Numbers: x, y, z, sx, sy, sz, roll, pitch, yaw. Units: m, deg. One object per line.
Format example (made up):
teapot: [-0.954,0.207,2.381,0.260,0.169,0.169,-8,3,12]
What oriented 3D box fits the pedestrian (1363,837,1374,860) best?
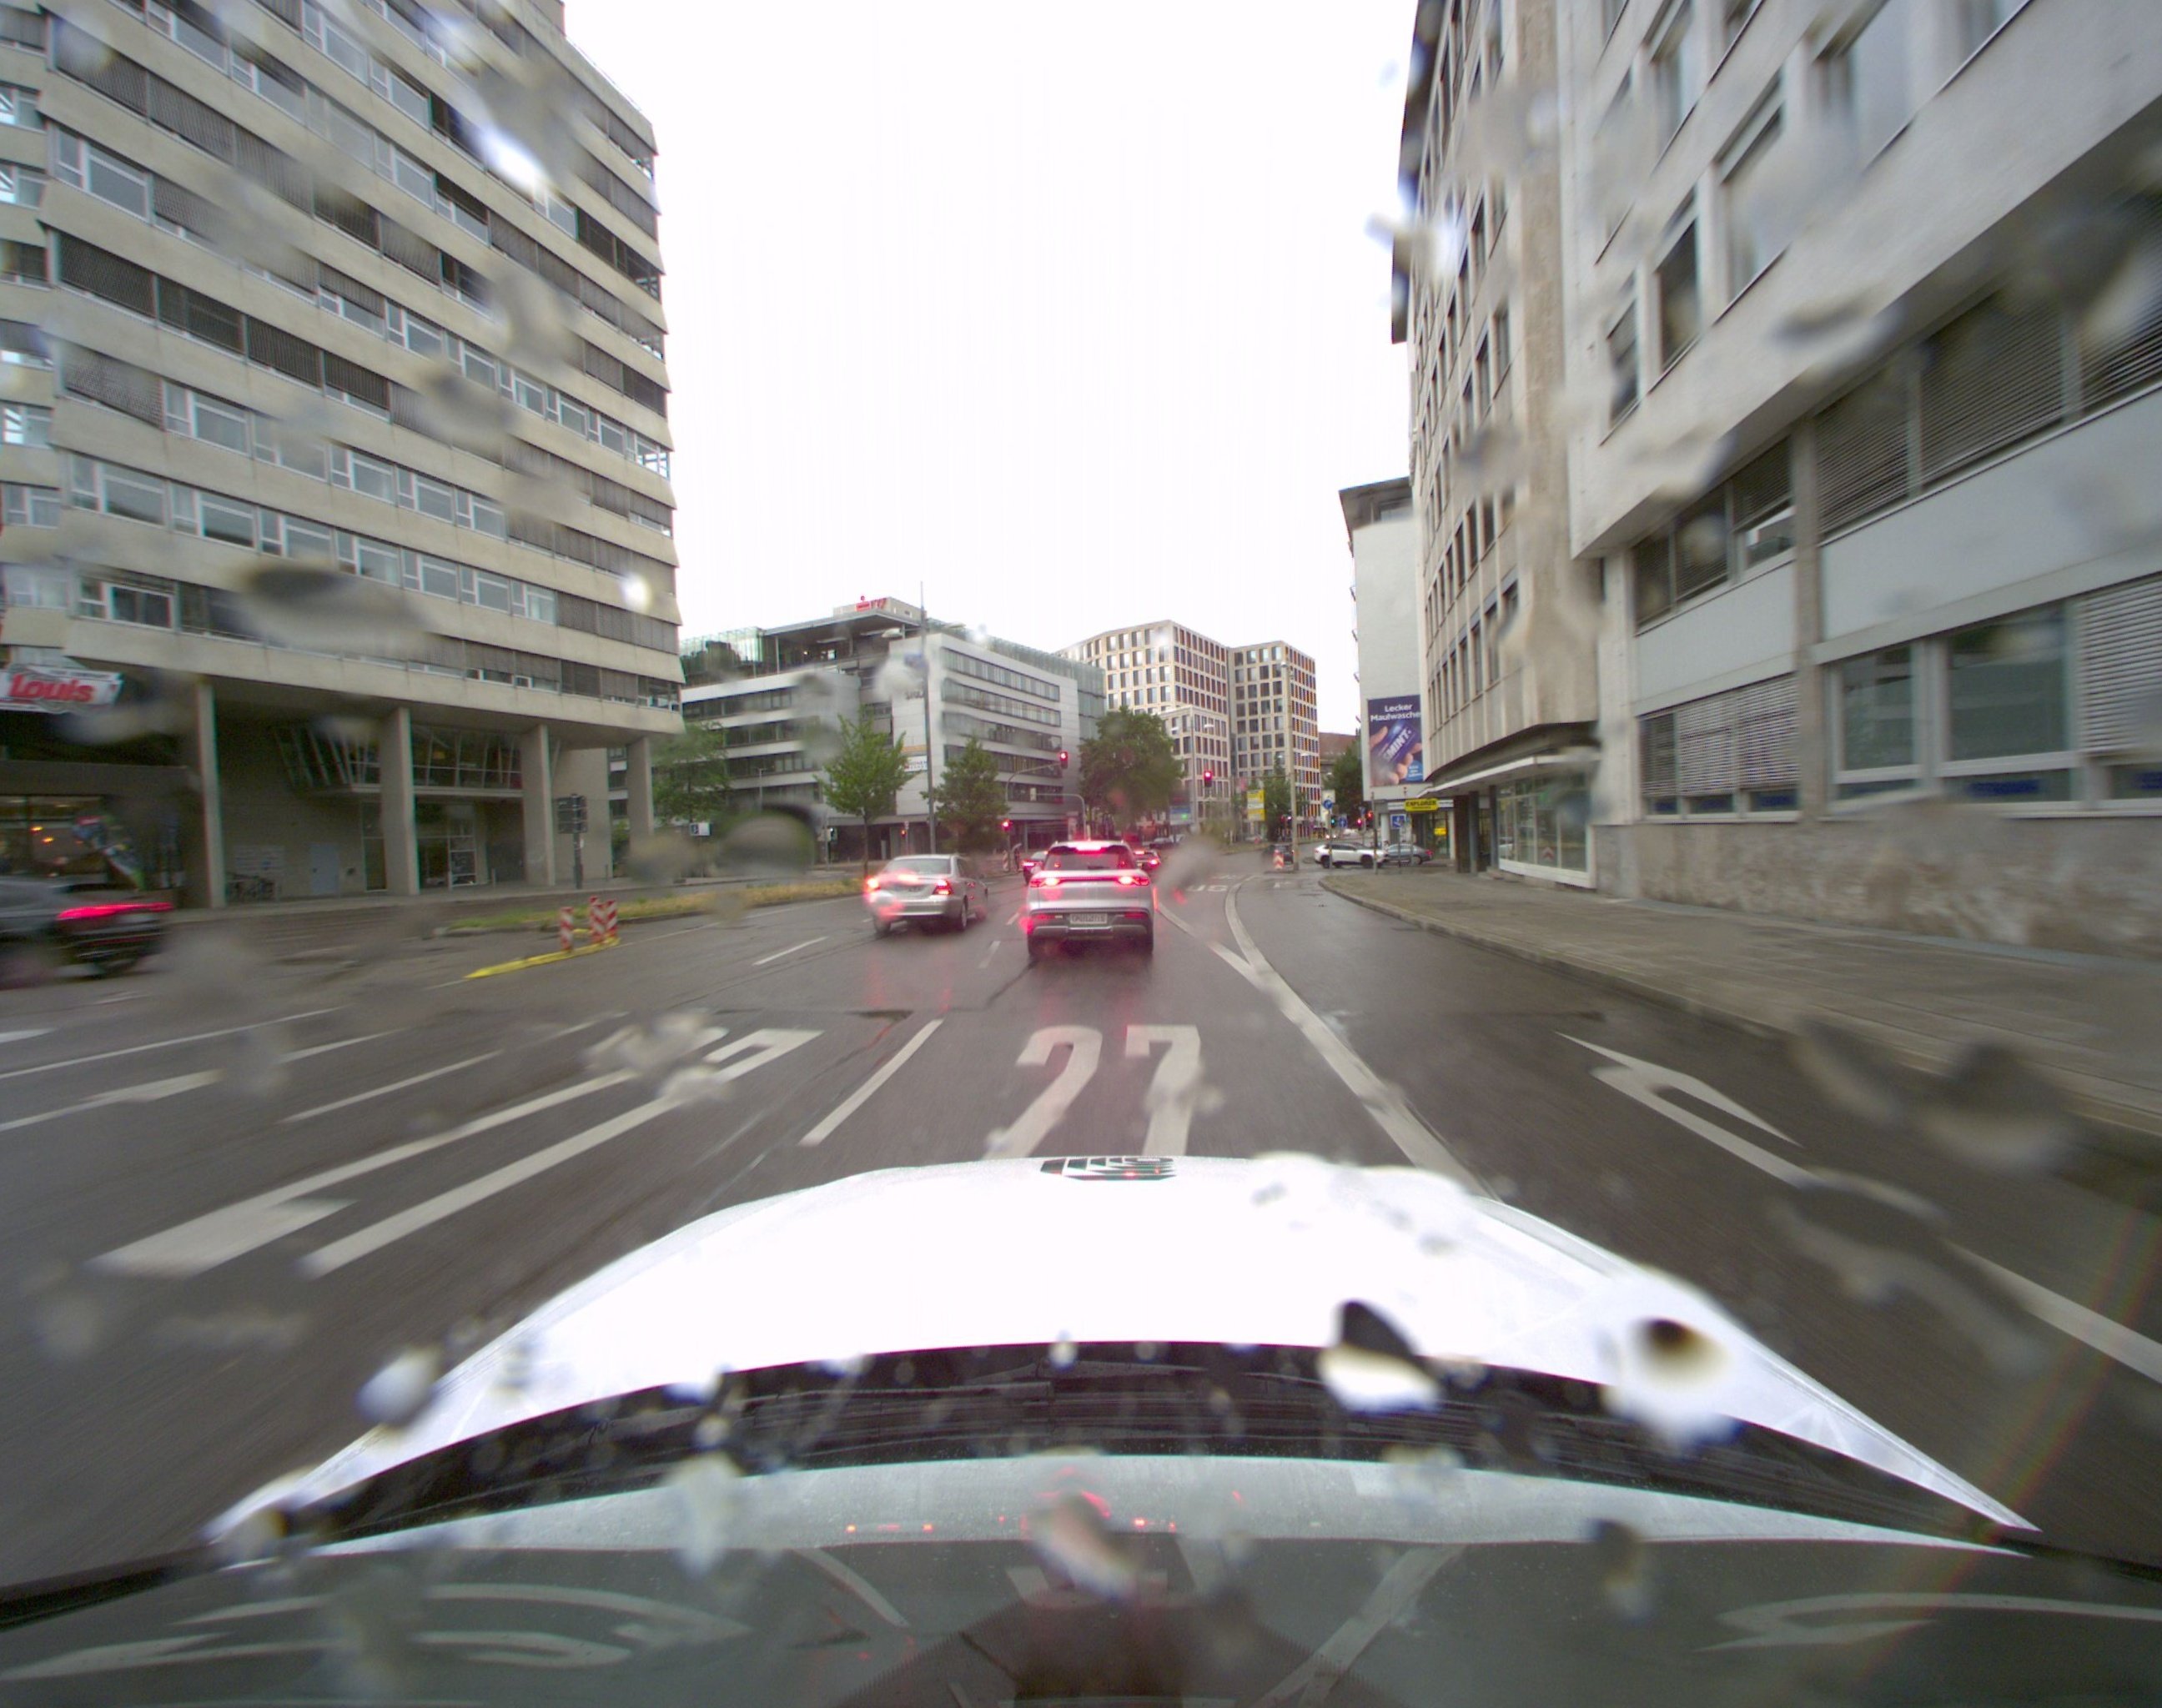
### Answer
pedestrian: [20.725,-0.376,58.643,0.721,1.668,0.694,-1,-1,19]

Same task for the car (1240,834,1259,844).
car: [29.134,-2.612,140.550,1.974,1.705,4.336,-1,2,31]

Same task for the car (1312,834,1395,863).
car: [16.982,-0.316,50.960,4.474,1.750,2.012,-1,1,44]

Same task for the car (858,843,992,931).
car: [-2.965,0.560,16.336,1.675,1.486,4.199,-2,0,2]

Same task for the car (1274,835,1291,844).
car: [39.332,-2.874,158.823,1.974,1.705,4.336,-1,2,31]

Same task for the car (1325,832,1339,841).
car: [54.060,-3.763,175.166,1.974,1.705,4.026,-1,2,30]

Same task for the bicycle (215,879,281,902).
bicycle: [-32.836,1.420,32.145,0.450,0.812,1.783,-1,0,21]

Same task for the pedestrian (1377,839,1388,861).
pedestrian: [21.580,-0.265,58.274,0.721,1.524,0.763,-1,-1,19]

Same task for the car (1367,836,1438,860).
car: [21.369,-0.410,54.168,4.303,1.510,1.927,0,1,25]

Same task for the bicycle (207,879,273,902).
bicycle: [-33.381,1.428,32.358,0.450,0.812,1.783,-1,0,21]

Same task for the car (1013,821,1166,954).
car: [0.120,0.430,13.073,1.987,1.709,4.482,-2,0,0]

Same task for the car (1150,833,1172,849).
car: [11.064,-1.720,112.329,1.722,2.161,4.517,0,0,21]

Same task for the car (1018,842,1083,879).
car: [-1.311,0.258,37.011,1.941,1.530,4.015,-1,0,13]

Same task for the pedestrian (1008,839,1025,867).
pedestrian: [-3.978,-0.064,50.267,0.919,1.738,0.729,-2,0,-2]

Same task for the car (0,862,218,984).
car: [-15.683,0.972,11.452,4.471,1.544,1.992,-2,0,-12]

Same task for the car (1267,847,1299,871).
car: [15.830,0.347,64.028,2.035,1.765,4.368,0,1,9]

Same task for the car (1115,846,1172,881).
car: [2.972,0.406,38.019,1.941,1.530,4.016,-1,0,15]

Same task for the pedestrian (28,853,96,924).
pedestrian: [-27.353,0.908,21.866,0.721,1.832,0.929,-1,0,19]
